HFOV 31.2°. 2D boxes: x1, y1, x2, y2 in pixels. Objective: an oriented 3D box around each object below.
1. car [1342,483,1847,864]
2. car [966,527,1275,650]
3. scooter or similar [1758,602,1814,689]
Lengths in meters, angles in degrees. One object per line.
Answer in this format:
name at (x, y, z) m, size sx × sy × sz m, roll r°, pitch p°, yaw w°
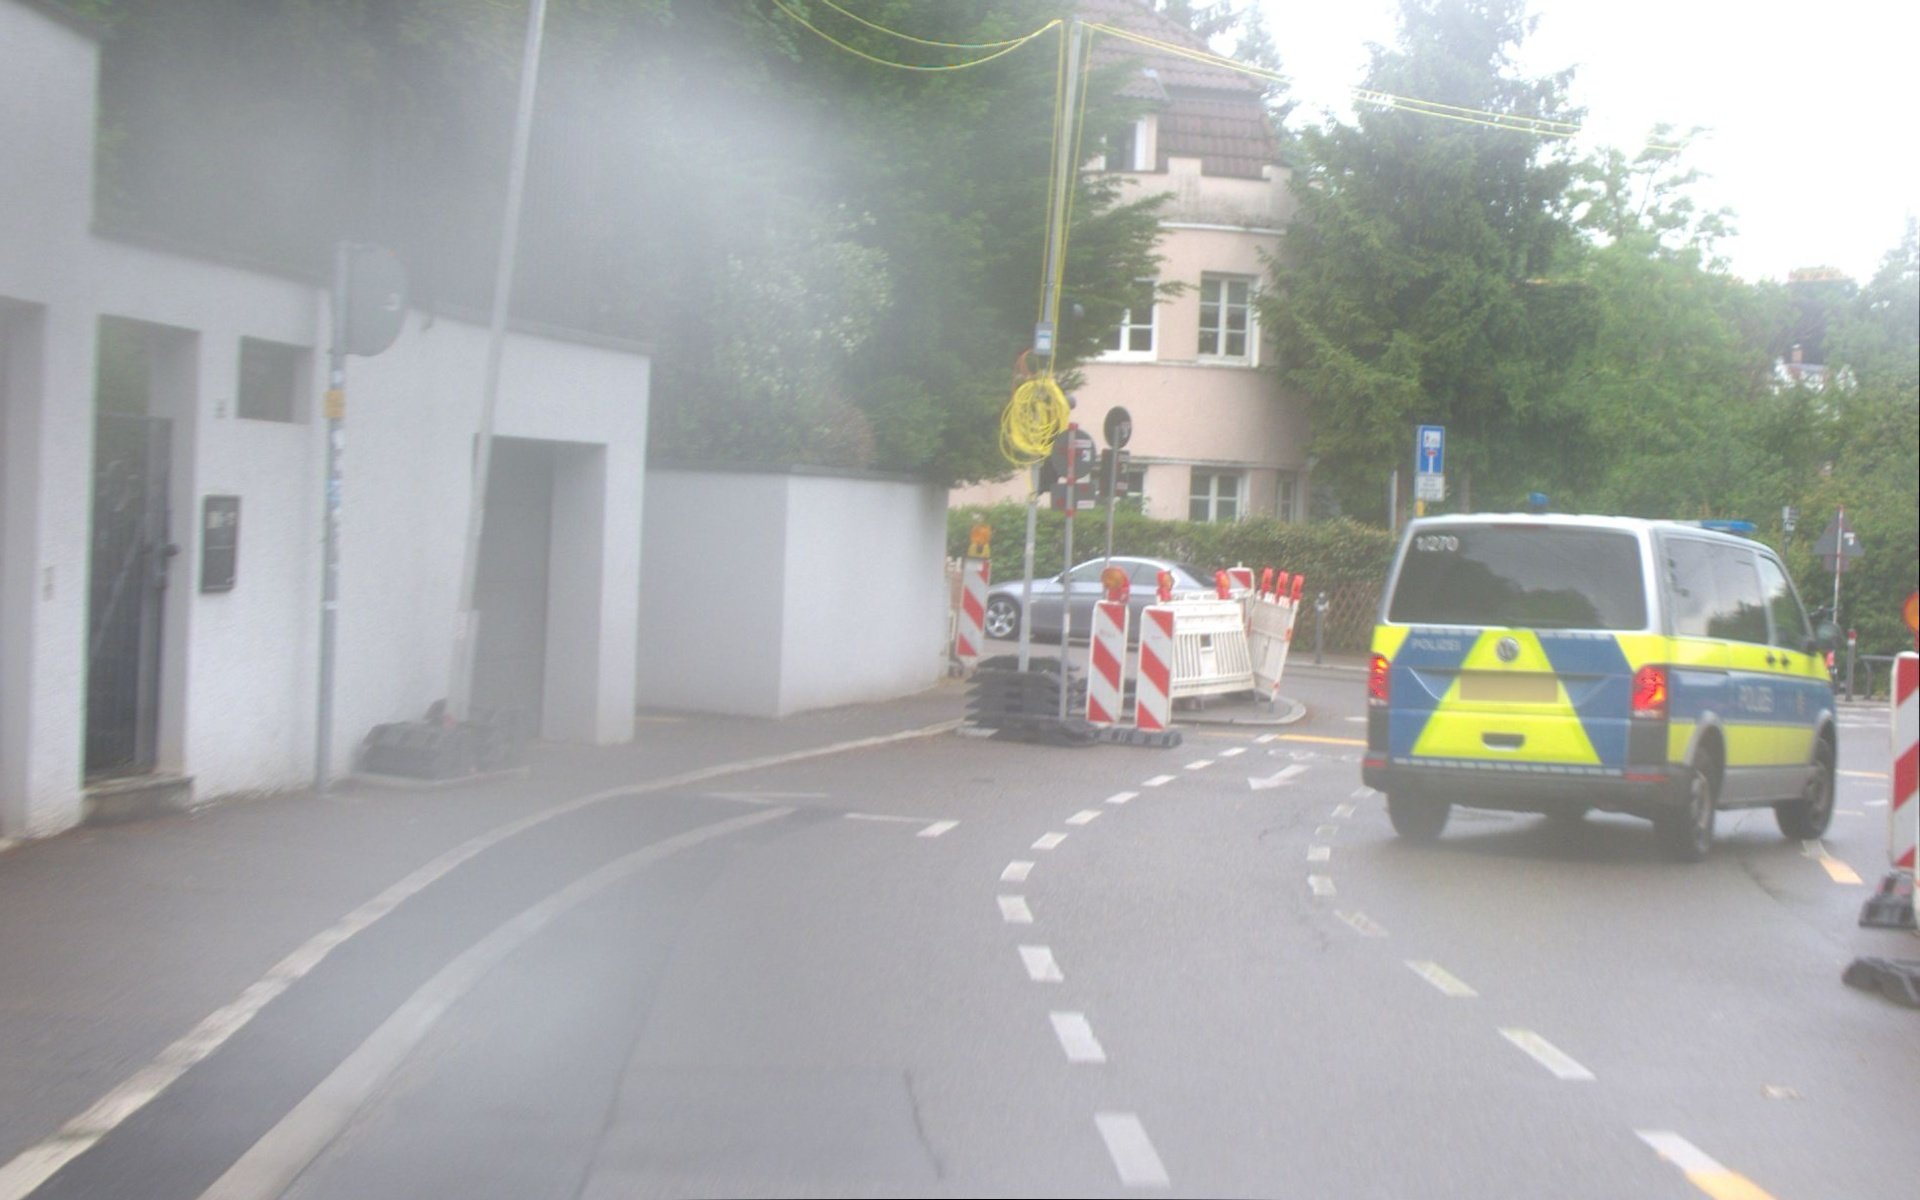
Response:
car at (4.028, 0.444, 21.182) m, size 1.910 × 2.003 × 4.433 m, roll 3°, pitch 0°, yaw 25°
car at (2.292, -0.167, 49.225) m, size 3.994 × 1.512 × 1.725 m, roll 3°, pitch 0°, yaw 29°
scooter or similar at (11.562, 0.633, 48.156) m, size 0.464 × 1.182 × 1.025 m, roll 3°, pitch 0°, yaw 0°
